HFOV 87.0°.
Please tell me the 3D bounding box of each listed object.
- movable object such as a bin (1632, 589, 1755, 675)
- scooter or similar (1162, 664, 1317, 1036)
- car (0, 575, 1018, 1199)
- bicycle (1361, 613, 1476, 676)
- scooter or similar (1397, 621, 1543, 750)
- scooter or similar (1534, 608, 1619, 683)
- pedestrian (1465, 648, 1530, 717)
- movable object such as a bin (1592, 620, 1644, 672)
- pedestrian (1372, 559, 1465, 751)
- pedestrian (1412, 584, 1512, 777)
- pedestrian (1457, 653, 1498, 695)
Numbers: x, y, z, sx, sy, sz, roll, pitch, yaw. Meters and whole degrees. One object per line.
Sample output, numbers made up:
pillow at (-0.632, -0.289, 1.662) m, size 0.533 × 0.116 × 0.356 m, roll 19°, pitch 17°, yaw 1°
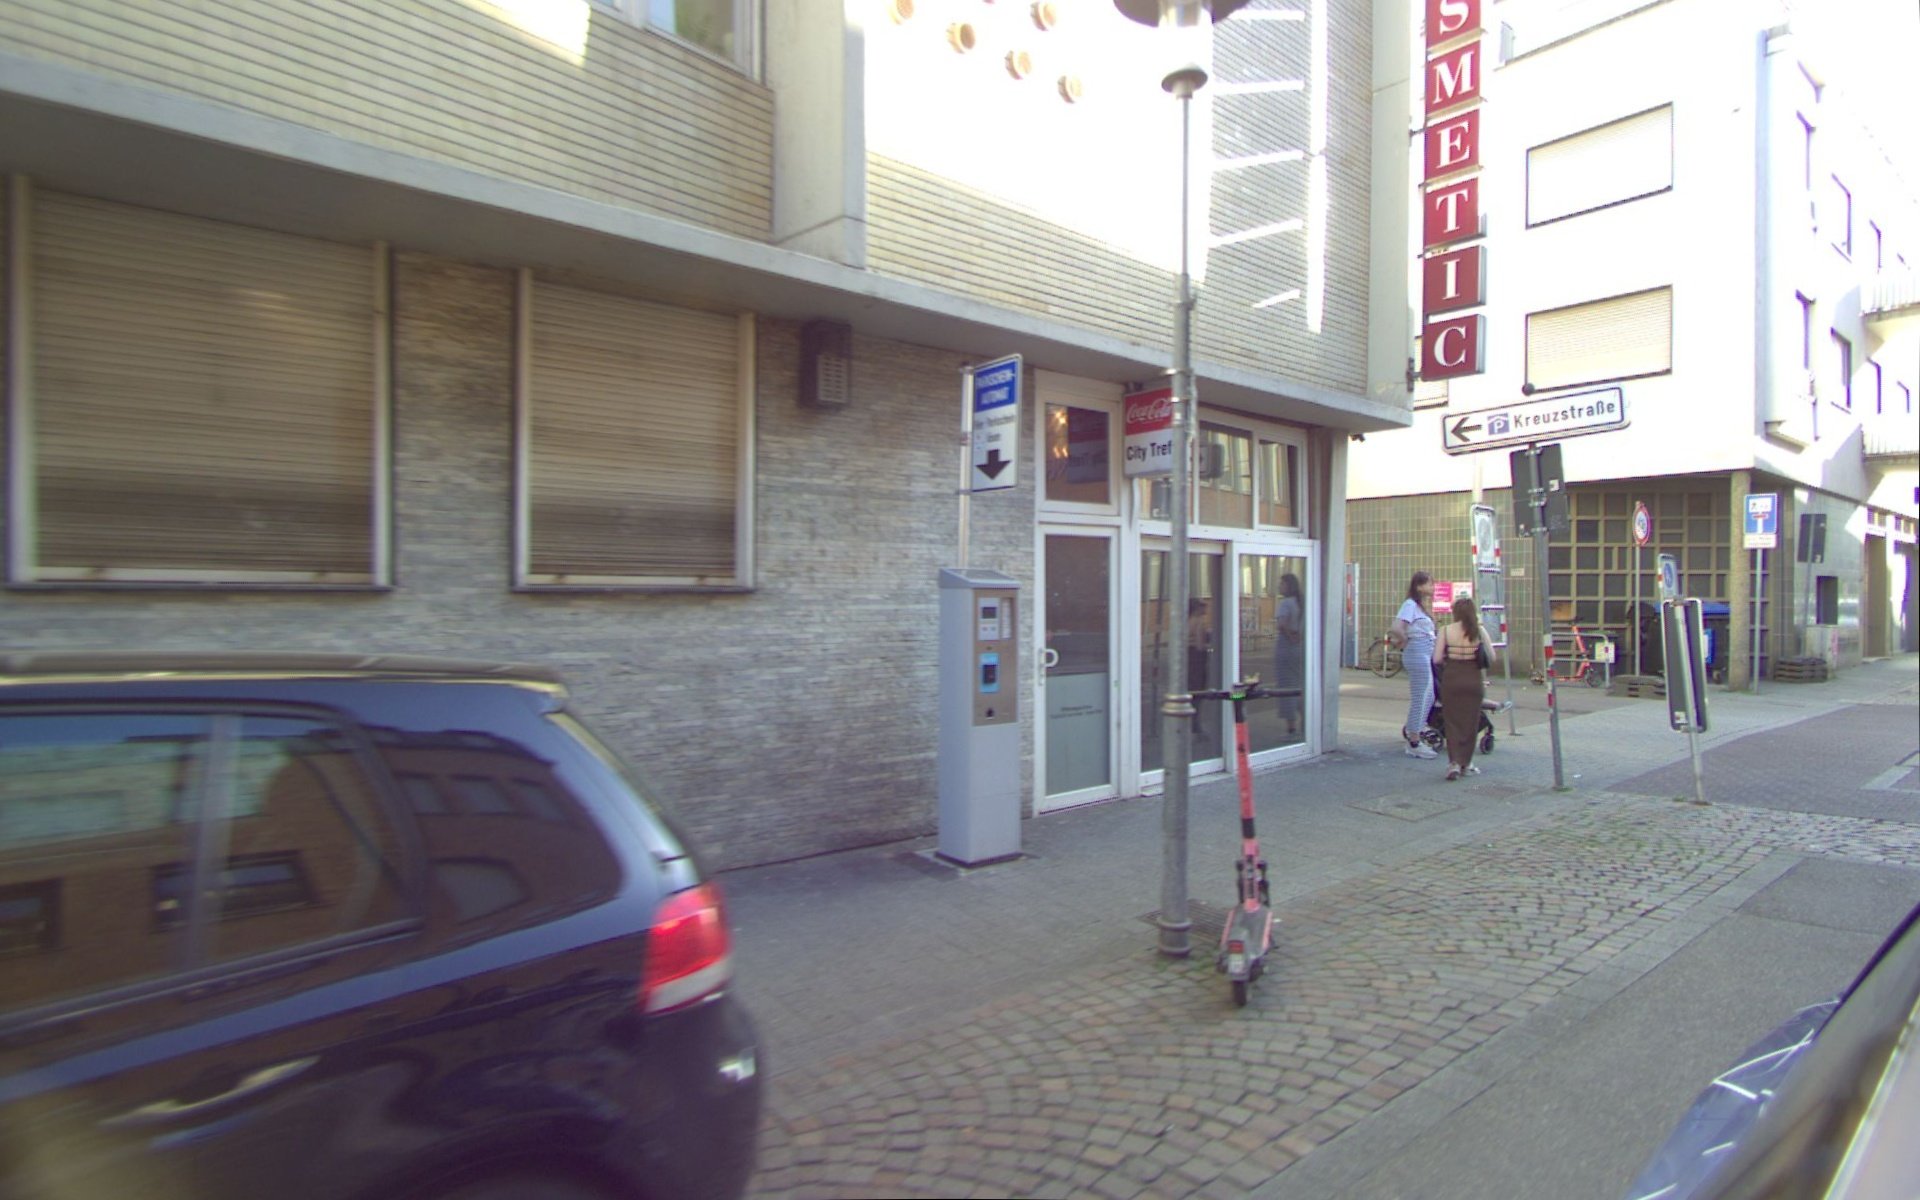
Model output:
movable object such as a bin at (13.140, 0.555, 18.182) m, size 1.411 × 1.481 × 1.126 m, roll 0°, pitch 0°, yaw 10°
scooter or similar at (1.214, 0.922, 4.250) m, size 0.488 × 1.209 × 1.297 m, roll 0°, pitch 0°, yaw 22°
car at (-2.206, 0.779, 1.368) m, size 4.517 × 1.524 × 1.826 m, roll 0°, pitch -3°, yaw -40°
bicycle at (8.661, 0.818, 19.192) m, size 0.669 × 1.141 × 1.893 m, roll 0°, pitch -1°, yaw -35°
scooter or similar at (5.128, 0.837, 10.246) m, size 1.026 × 1.191 × 0.871 m, roll 2°, pitch 0°, yaw 3°
scooter or similar at (10.648, 0.769, 17.503) m, size 0.489 × 1.239 × 1.161 m, roll 0°, pitch 0°, yaw -41°
pedestrian at (5.295, 0.805, 9.991) m, size 0.502 × 0.641 × 0.330 m, roll 0°, pitch 0°, yaw 16°
movable object such as a bin at (12.117, 0.837, 18.655) m, size 0.587 × 0.938 × 0.605 m, roll 0°, pitch 0°, yaw 9°
pedestrian at (4.353, 0.506, 9.638) m, size 0.611 × 1.758 × 0.626 m, roll 0°, pitch 0°, yaw 4°
pedestrian at (4.262, 0.657, 8.607) m, size 0.432 × 1.559 × 0.575 m, roll 0°, pitch 2°, yaw -31°
pedestrian at (5.289, 0.752, 10.357) m, size 0.308 × 0.403 × 0.330 m, roll 0°, pitch 0°, yaw 16°
